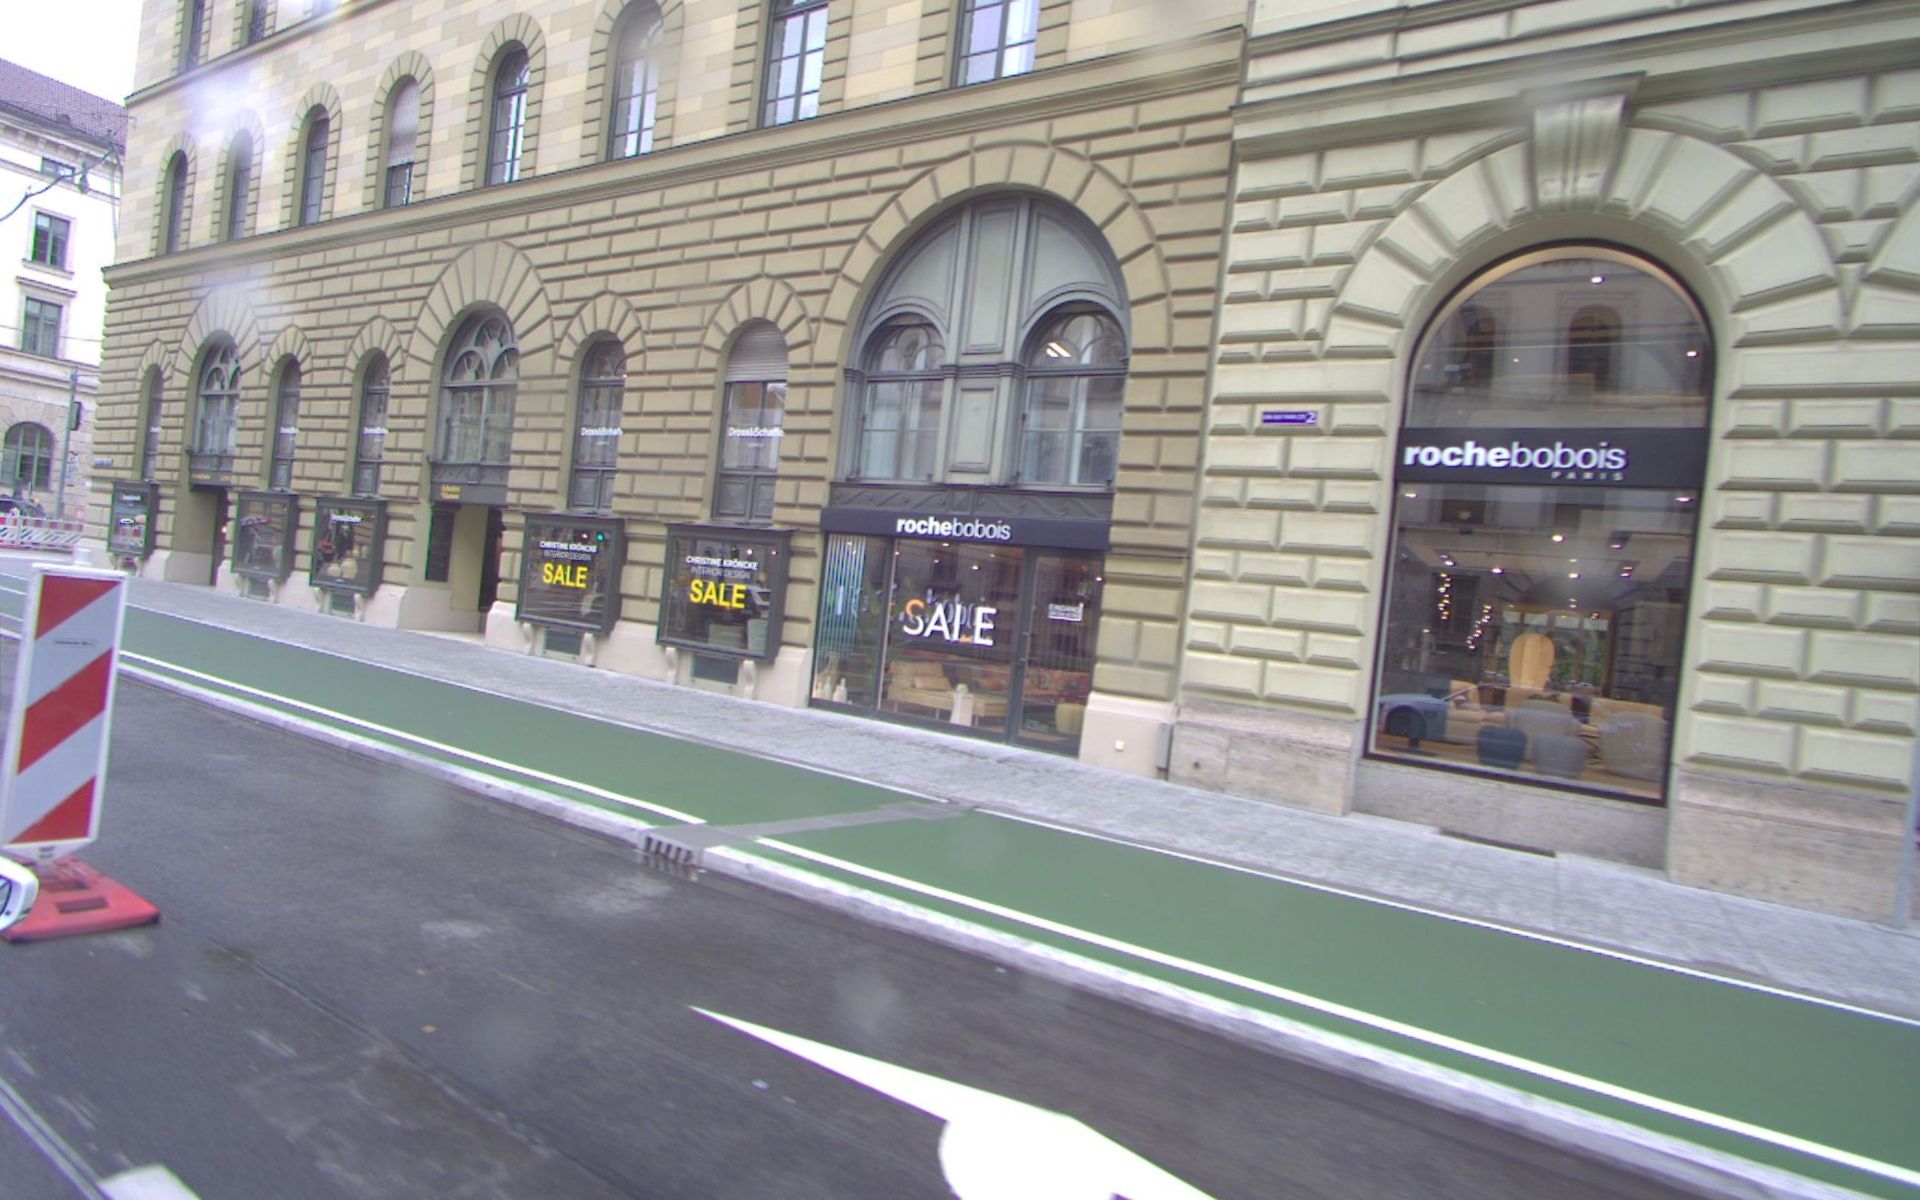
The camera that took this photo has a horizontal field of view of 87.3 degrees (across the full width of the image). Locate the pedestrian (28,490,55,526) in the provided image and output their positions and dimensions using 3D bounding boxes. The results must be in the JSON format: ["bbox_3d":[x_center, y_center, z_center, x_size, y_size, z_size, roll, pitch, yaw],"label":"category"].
[{"bbox_3d":[-47.976,-4.812,52.560,0.807,1.714,0.716,7,-1,33],"label":"pedestrian"}]
